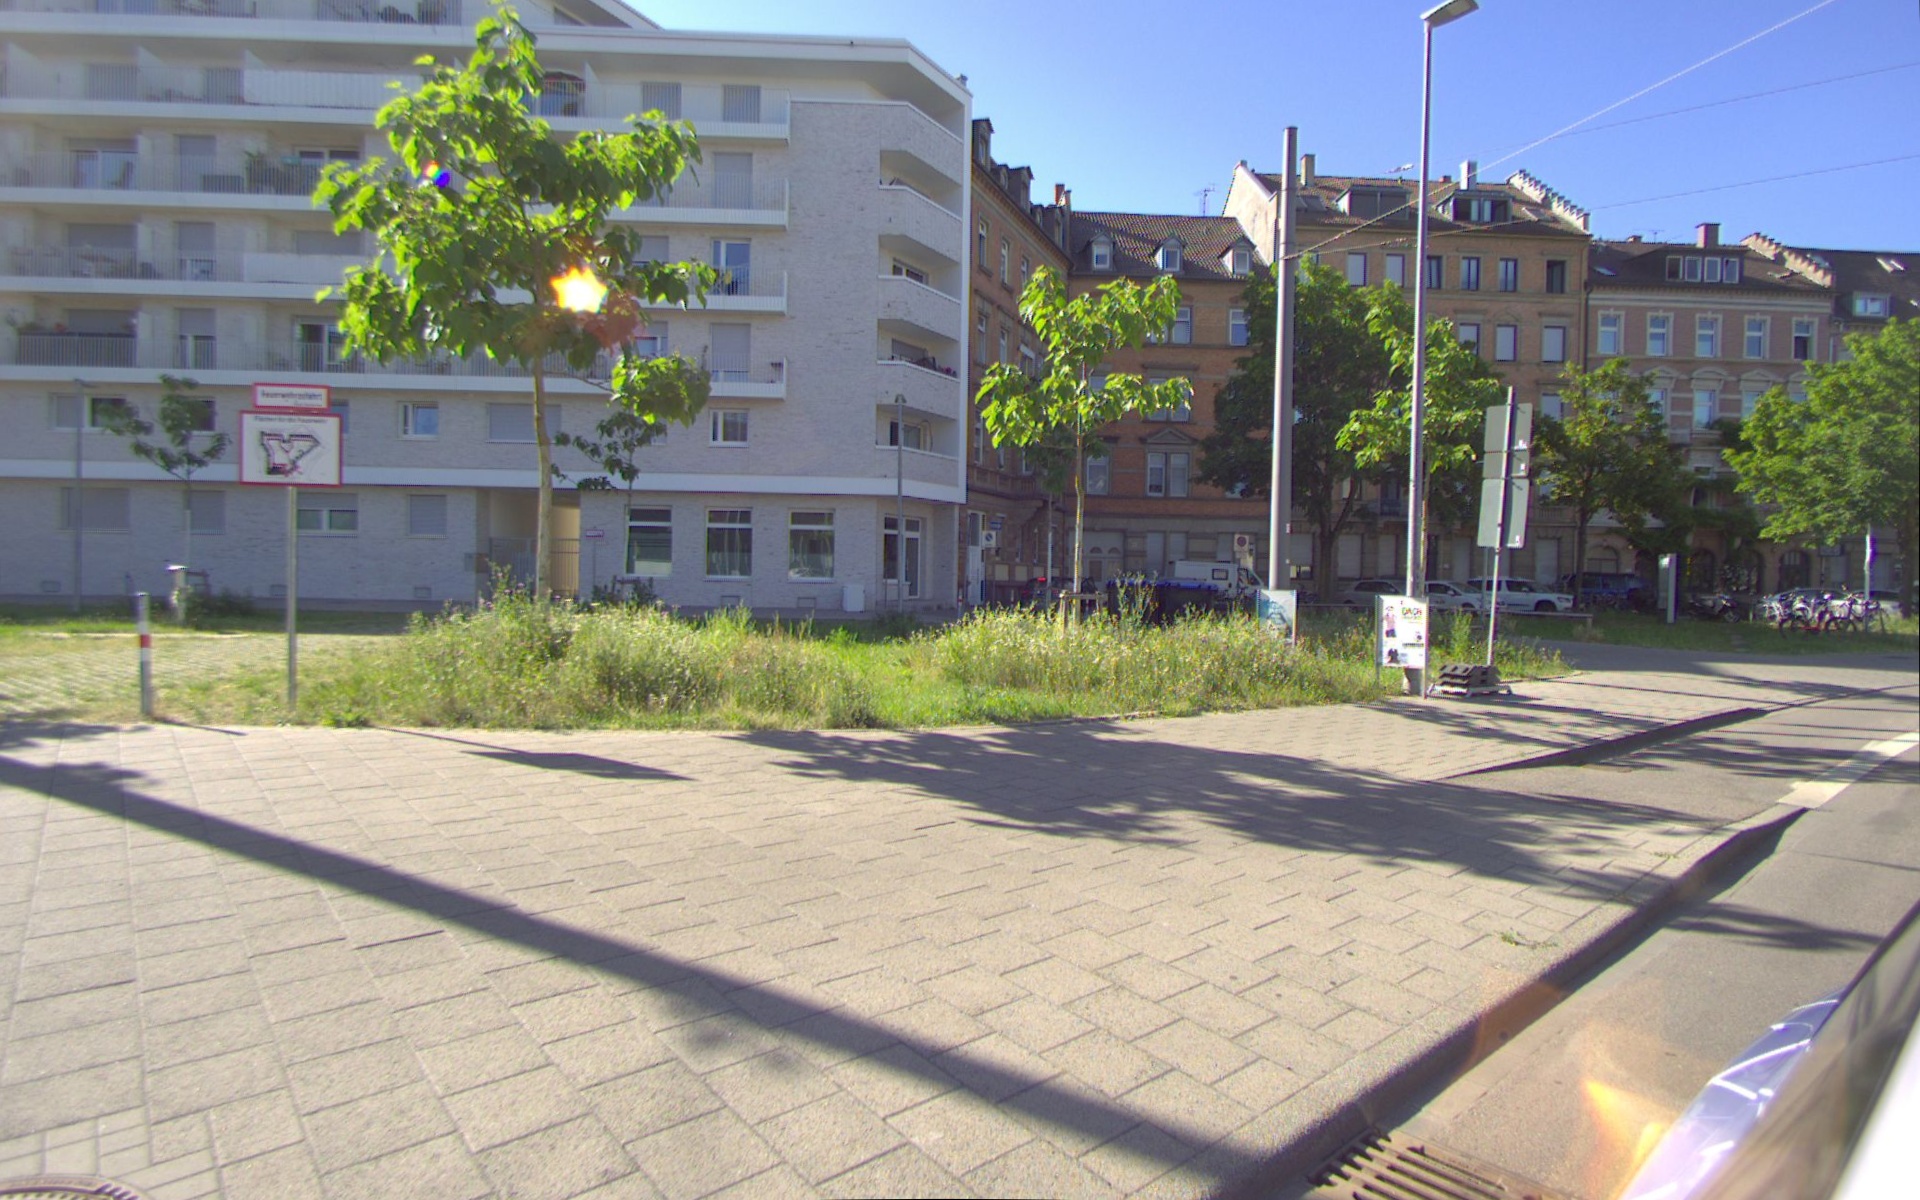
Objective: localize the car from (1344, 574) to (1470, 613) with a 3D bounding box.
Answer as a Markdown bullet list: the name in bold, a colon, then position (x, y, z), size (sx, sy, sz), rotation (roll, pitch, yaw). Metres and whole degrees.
- **car**: position (16.410, -0.270, 37.391), size (1.801, 1.354, 4.064), rotation (1, 1, -25)

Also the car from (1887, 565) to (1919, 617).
- **car**: position (39.733, -0.275, 39.464), size (2.061, 2.037, 4.882), rotation (-1, 4, -36)

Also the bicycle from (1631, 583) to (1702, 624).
- **bicycle**: position (25.386, 0.094, 36.409), size (0.771, 1.416, 2.104), rotation (0, 1, -13)

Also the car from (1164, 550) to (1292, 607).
- **car**: position (12.134, -1.020, 46.155), size (5.087, 2.386, 2.359), rotation (2, 3, -1)

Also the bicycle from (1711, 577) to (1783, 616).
- **bicycle**: position (28.580, -0.139, 36.787), size (0.771, 1.382, 2.103), rotation (0, 0, -8)

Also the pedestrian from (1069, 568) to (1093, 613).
- **pedestrian**: position (4.353, -0.343, 36.436), size (0.756, 1.596, 0.643), rotation (1, 1, -2)

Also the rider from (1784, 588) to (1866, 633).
- **rider**: position (24.078, 0.299, 28.196), size (1.652, 1.191, 0.501), rotation (-2, 0, 16)

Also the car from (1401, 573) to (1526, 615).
- **car**: position (18.776, -0.269, 37.879), size (1.726, 1.459, 3.846), rotation (0, 1, -33)

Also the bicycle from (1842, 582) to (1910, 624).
- **bicycle**: position (30.707, 0.083, 33.956), size (1.589, 1.306, 0.760), rotation (3, 3, 38)

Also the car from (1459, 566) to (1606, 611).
- **car**: position (21.541, -0.460, 38.266), size (1.900, 1.585, 4.473), rotation (0, 1, -33)

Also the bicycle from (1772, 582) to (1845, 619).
- **bicycle**: position (30.169, -0.008, 36.007), size (0.825, 1.206, 1.966), rotation (1, 3, -3)

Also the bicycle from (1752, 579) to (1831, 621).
- **bicycle**: position (28.265, -0.031, 34.443), size (0.771, 1.382, 2.103), rotation (0, 1, -8)

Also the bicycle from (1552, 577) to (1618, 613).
- **bicycle**: position (24.894, -0.210, 40.348), size (0.774, 1.382, 2.096), rotation (0, 1, -42)

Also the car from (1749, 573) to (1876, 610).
- **car**: position (40.435, -0.434, 48.059), size (4.422, 1.547, 2.003), rotation (1, 3, -6)

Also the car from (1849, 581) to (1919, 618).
- **car**: position (36.860, -0.012, 38.978), size (1.889, 1.397, 3.615), rotation (0, 1, -35)

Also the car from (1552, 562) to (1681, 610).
- **car**: position (30.456, -0.668, 47.058), size (4.632, 2.001, 2.002), rotation (2, 3, -2)

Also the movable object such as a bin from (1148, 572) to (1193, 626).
- **movable object such as a bin**: position (5.736, -0.050, 27.519), size (1.076, 1.416, 1.026), rotation (1, 1, 18)

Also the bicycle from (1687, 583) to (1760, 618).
- **bicycle**: position (27.633, 0.000, 36.685), size (0.806, 1.173, 2.172), rotation (1, 1, -6)

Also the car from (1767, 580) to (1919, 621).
- **car**: position (34.100, -0.018, 38.652), size (2.007, 1.397, 4.753), rotation (0, 1, -35)

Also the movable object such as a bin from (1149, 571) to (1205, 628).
- **movable object such as a bin**: position (5.628, -0.036, 26.238), size (1.303, 1.416, 1.104), rotation (1, 1, 18)

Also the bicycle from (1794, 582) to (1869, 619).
- **bicycle**: position (31.071, -0.001, 36.104), size (0.882, 1.195, 1.953), rotation (0, 3, -3)

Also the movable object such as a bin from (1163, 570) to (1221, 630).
- **movable object such as a bin**: position (5.762, -0.018, 25.076), size (1.286, 1.416, 1.066), rotation (1, 1, 18)

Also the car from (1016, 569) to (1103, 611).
- **car**: position (3.731, -0.379, 37.285), size (1.979, 1.454, 4.074), rotation (1, 1, 25)

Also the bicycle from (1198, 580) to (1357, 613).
- **bicycle**: position (12.061, -0.140, 38.686), size (5.116, 1.141, 2.687), rotation (1, 1, -7)
